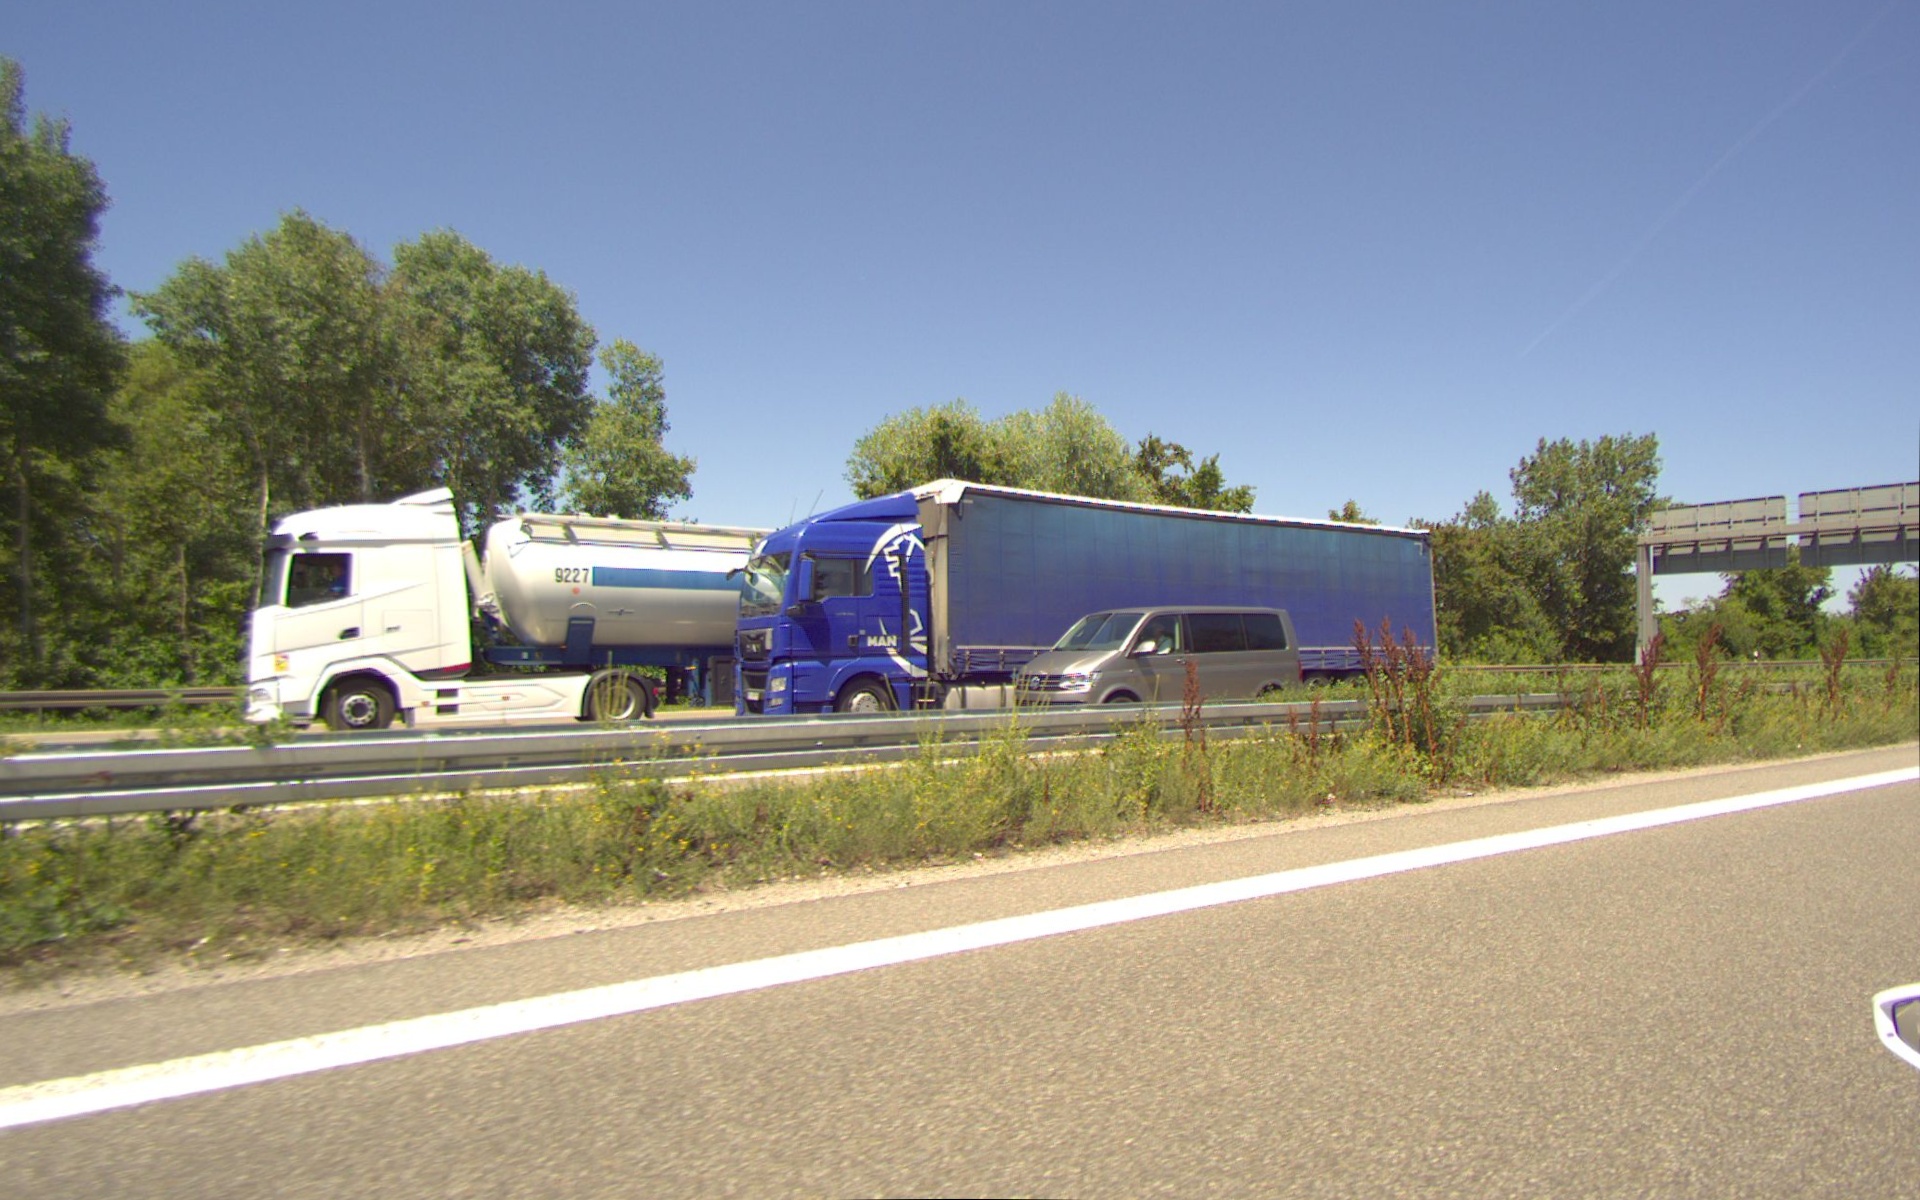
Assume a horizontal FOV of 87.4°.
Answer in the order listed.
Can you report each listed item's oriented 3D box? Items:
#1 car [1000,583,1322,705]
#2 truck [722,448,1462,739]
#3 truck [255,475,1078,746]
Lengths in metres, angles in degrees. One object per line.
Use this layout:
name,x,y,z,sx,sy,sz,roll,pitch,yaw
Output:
car,3.140,0.668,15.419,4.762,1.610,1.984,2,-2,-31
truck,3.877,0.167,20.559,16.988,4.301,2.940,2,-3,-32
truck,-4.646,0.407,20.477,15.643,4.071,2.940,2,-3,-32
